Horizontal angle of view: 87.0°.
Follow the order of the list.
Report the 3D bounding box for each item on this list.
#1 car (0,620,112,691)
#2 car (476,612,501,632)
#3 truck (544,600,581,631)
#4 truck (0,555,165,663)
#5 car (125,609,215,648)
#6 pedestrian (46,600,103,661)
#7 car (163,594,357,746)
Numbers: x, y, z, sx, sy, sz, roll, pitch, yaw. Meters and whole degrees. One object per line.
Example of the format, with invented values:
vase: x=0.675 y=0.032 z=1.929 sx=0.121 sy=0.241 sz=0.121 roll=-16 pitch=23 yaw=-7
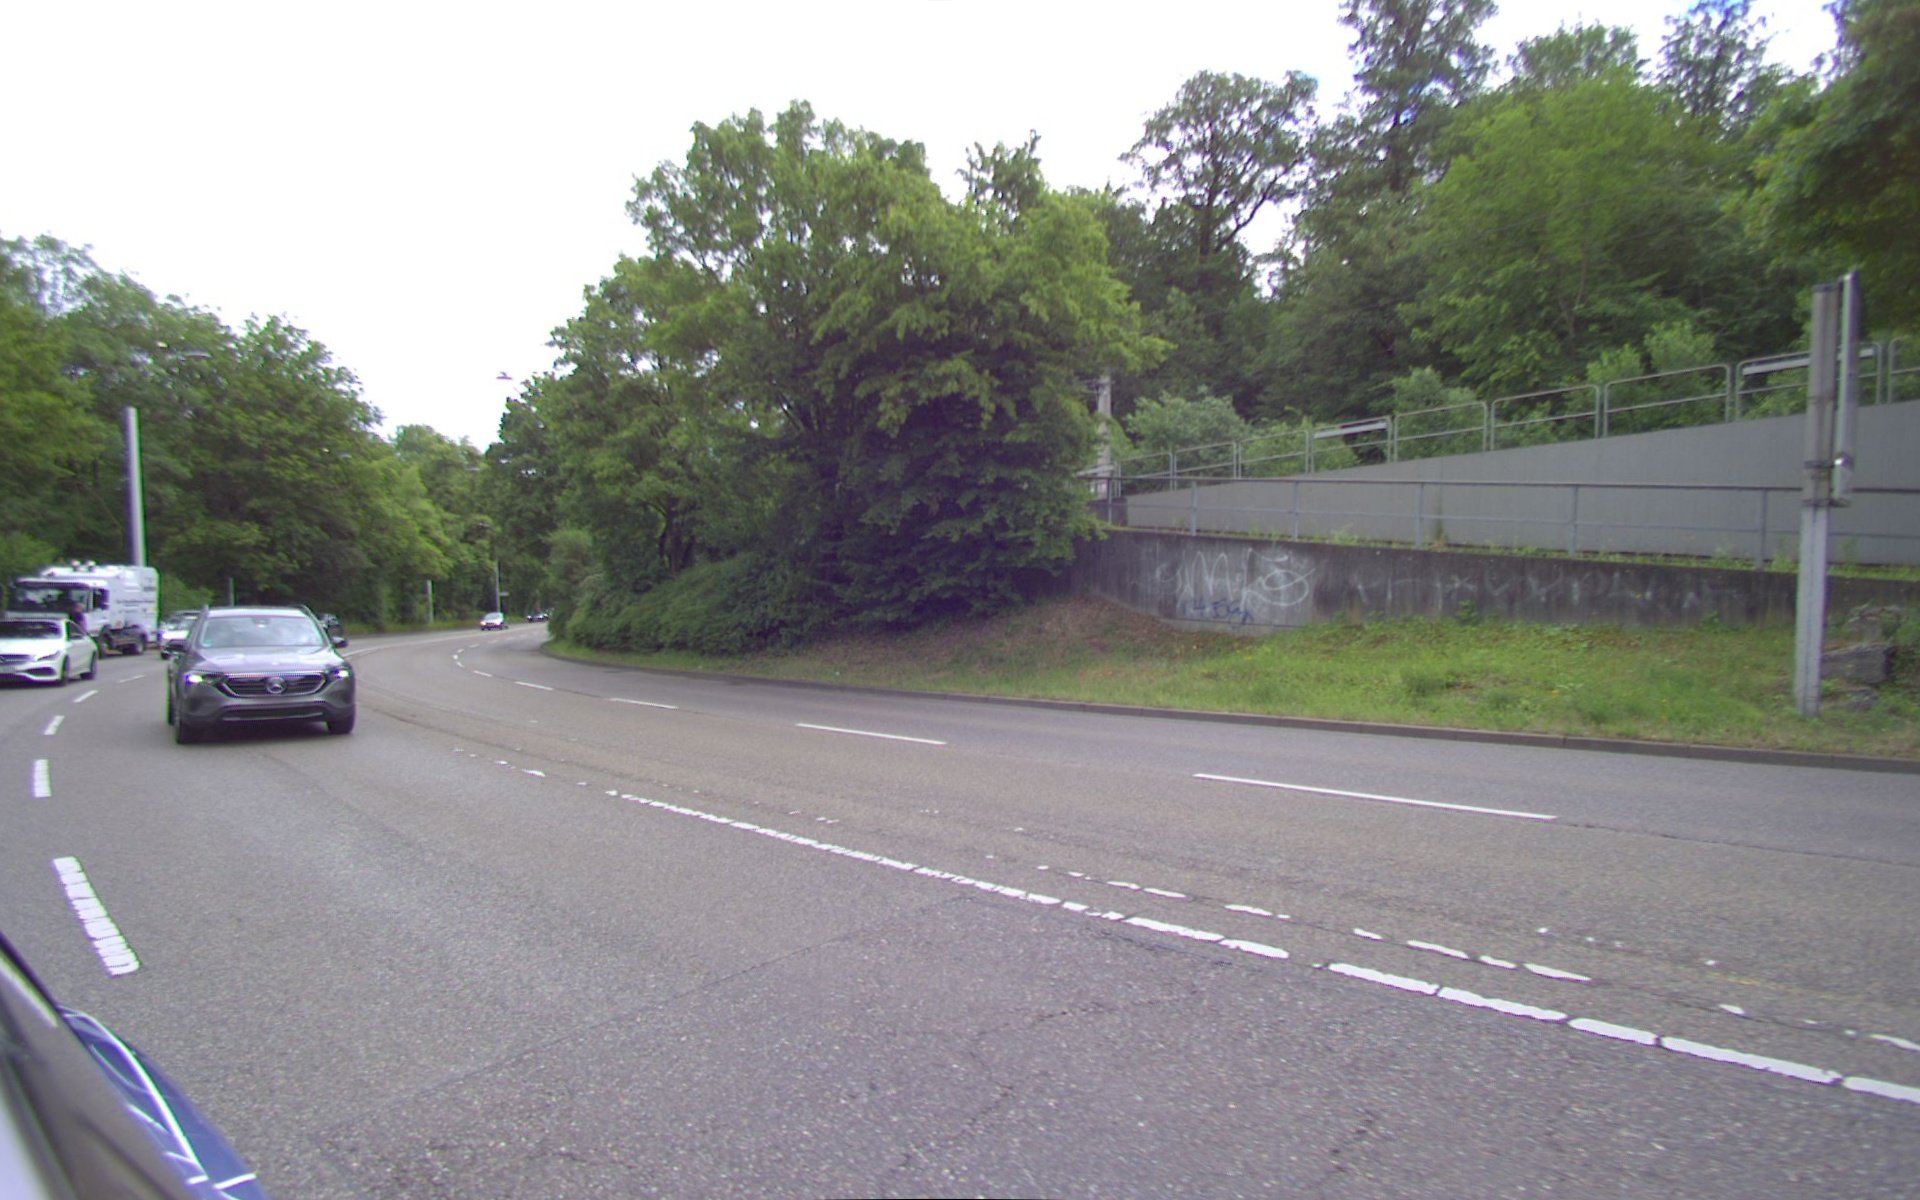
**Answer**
car: x=-19.612 y=1.102 z=21.226 sx=1.865 sy=1.306 sz=4.342 roll=2 pitch=-1 yaw=-28
car: x=-39.182 y=1.809 z=84.074 sx=1.669 sy=1.594 sz=4.013 roll=-3 pitch=0 yaw=-27
truck: x=-33.164 y=1.308 z=84.588 sx=2.131 sy=2.388 sz=6.697 roll=-2 pitch=0 yaw=-15
truck: x=-29.643 y=0.302 z=34.027 sx=2.447 sy=3.205 sz=7.252 roll=-3 pitch=0 yaw=-21
car: x=-33.456 y=1.183 z=42.987 sx=1.778 sy=1.536 sz=4.013 roll=-1 pitch=0 yaw=-19
pedestrian: x=-27.471 y=0.952 z=31.418 sx=0.904 sy=1.848 sz=0.987 roll=2 pitch=-3 yaw=-16
car: x=-9.401 y=0.790 z=13.442 sx=1.842 sy=1.675 sz=4.201 roll=1 pitch=-1 yaw=-38
